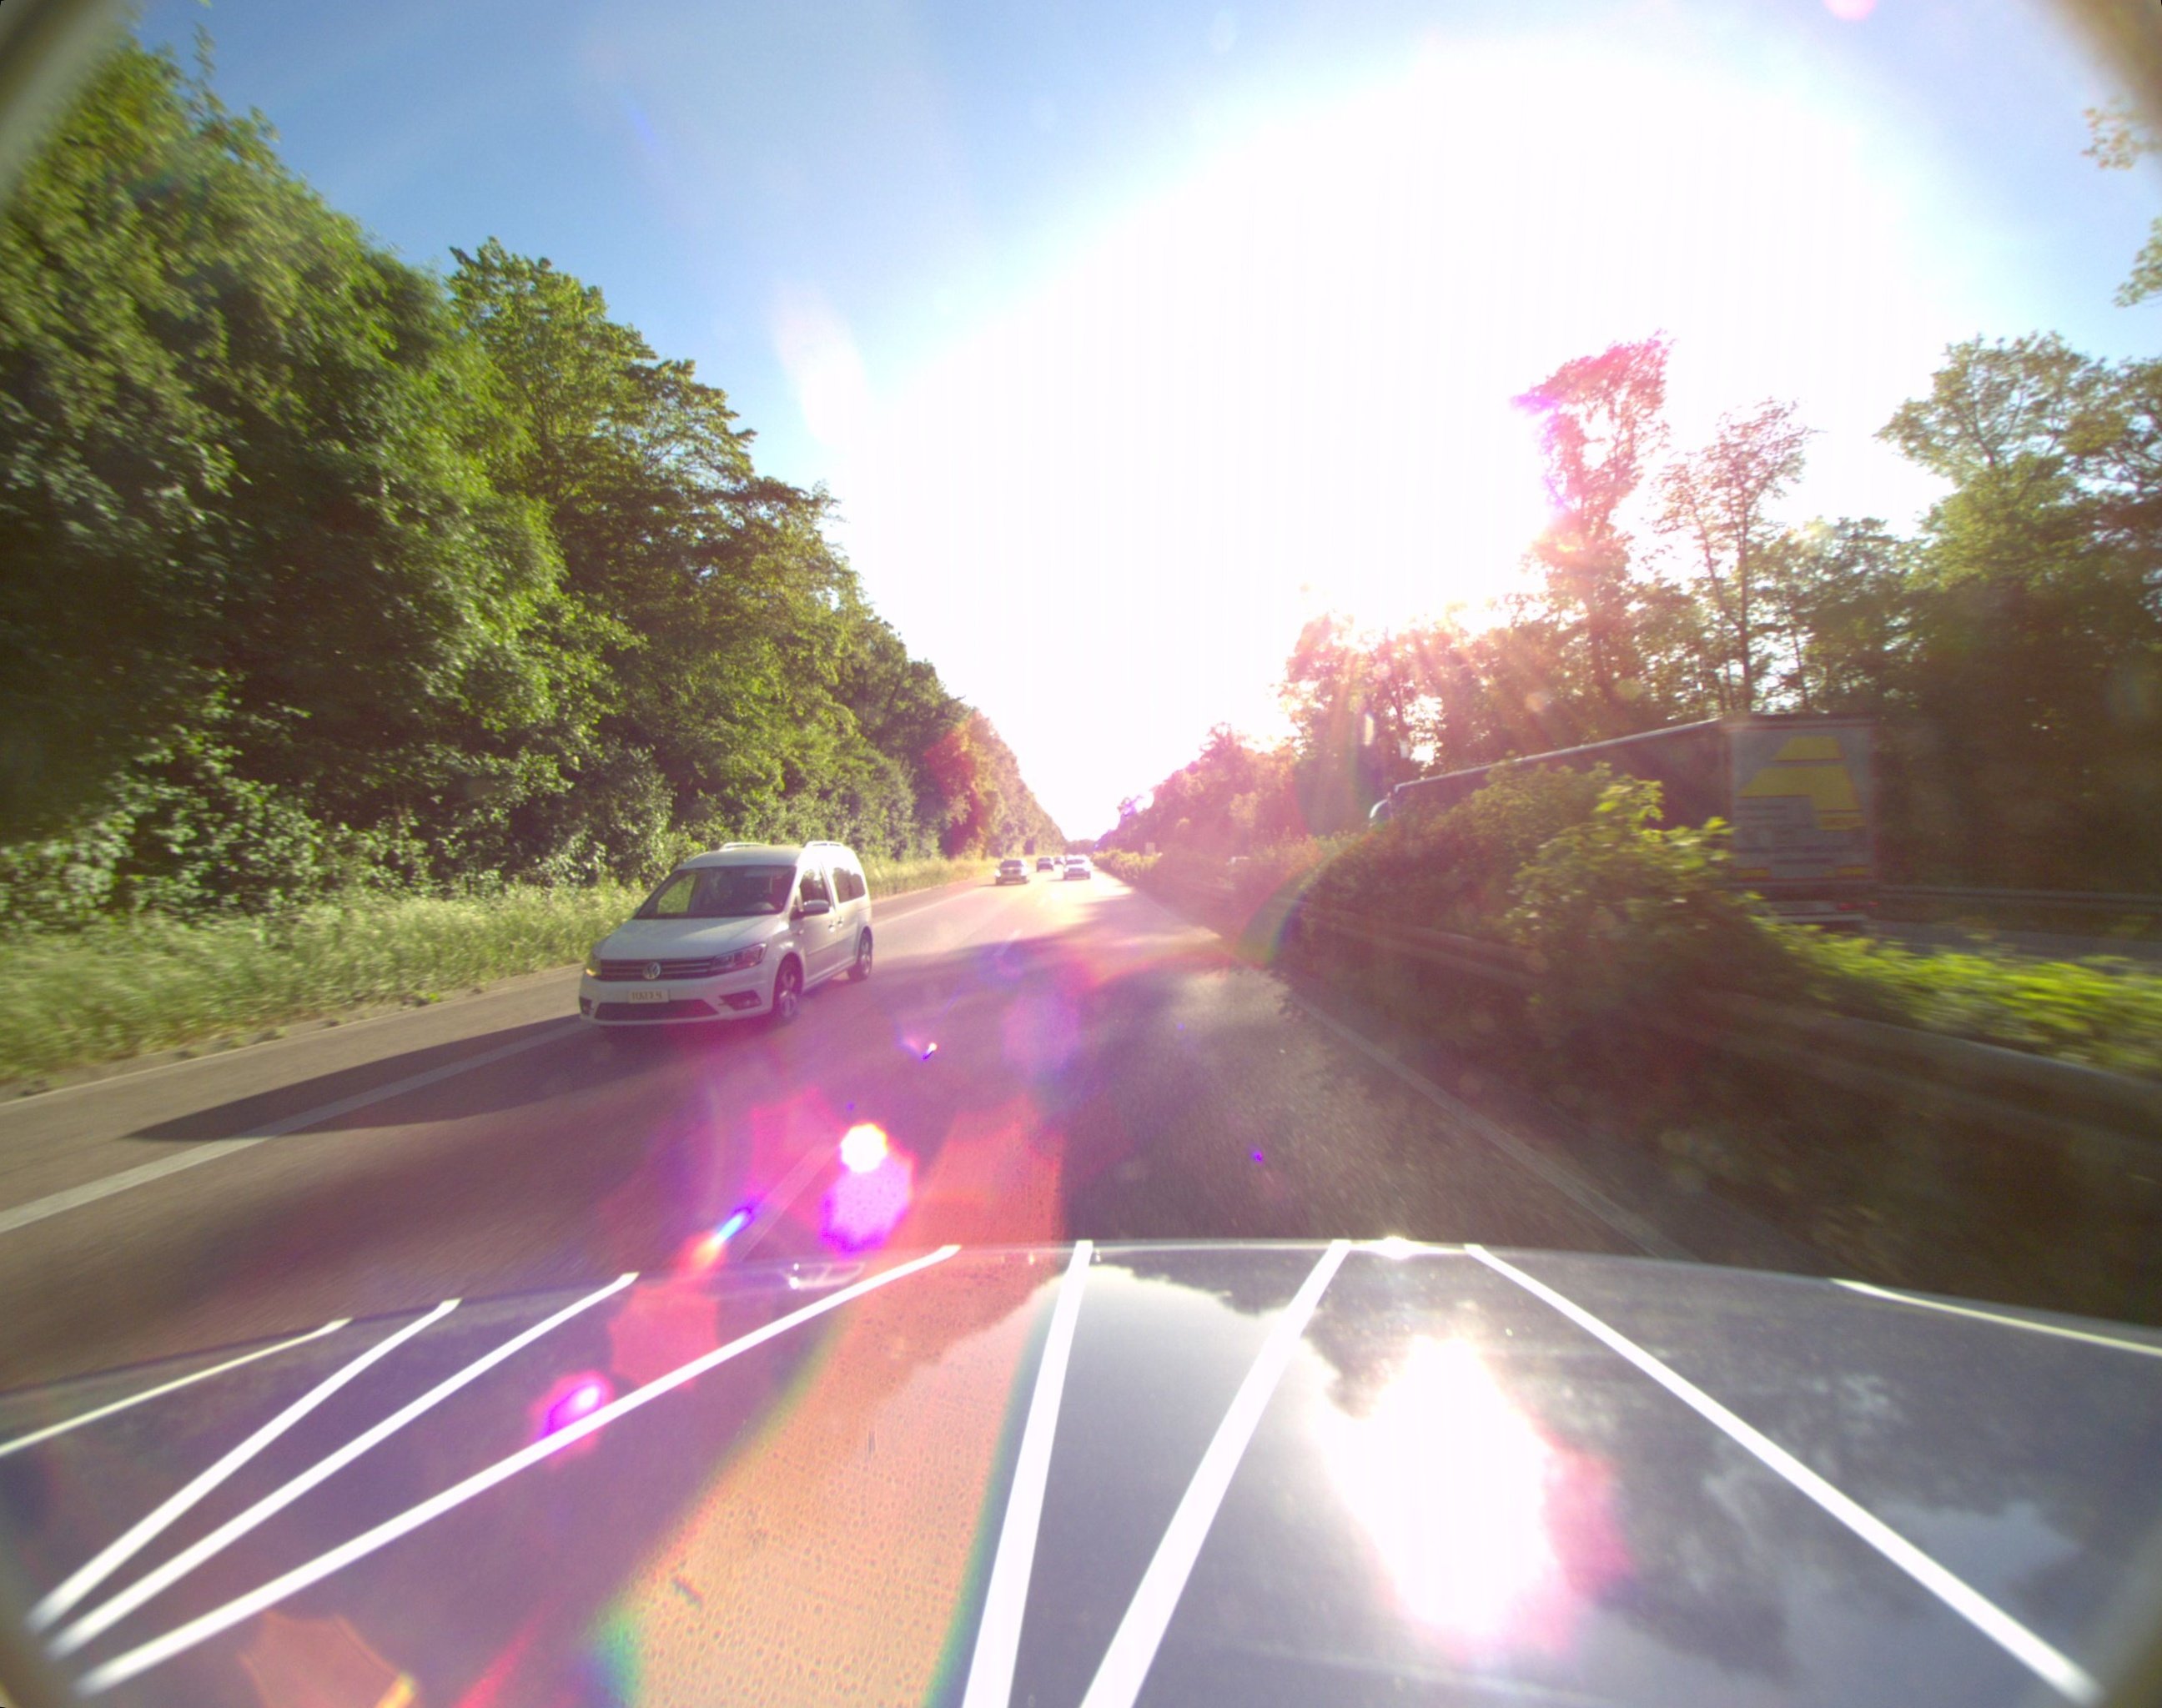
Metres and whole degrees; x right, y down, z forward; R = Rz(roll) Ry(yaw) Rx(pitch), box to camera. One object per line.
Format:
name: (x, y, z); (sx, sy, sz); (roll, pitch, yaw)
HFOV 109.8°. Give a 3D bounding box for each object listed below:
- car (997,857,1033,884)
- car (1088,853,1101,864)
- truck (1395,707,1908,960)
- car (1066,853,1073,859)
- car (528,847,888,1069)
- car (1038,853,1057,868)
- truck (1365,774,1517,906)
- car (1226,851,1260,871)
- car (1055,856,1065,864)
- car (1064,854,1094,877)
car: (-3.819, 0.911, 44.620); (1.795, 1.440, 3.877); (-2, 0, -1)
car: (2.050, 0.625, 117.240); (1.914, 1.561, 4.324); (-2, 1, 0)
truck: (12.298, -0.404, 19.516); (2.714, 4.073, 14.020); (-2, 1, 1)
car: (-3.270, 0.574, 212.307); (1.795, 1.440, 3.877); (-2, 0, -1)
car: (-3.706, 0.848, 8.669); (1.803, 1.802, 4.586); (-2, 1, -1)
car: (-3.462, 0.660, 79.196); (1.795, 1.440, 3.877); (-2, 0, -1)
truck: (12.378, -0.482, 26.686); (2.723, 4.073, 5.436); (-2, 1, 1)
car: (12.656, 0.509, 59.513); (1.783, 1.450, 4.269); (-2, 1, 1)
car: (-3.698, 1.072, 135.152); (1.795, 1.440, 3.877); (-2, 0, -1)
car: (-0.125, 0.721, 50.504); (1.890, 1.440, 3.877); (-2, 0, 0)
